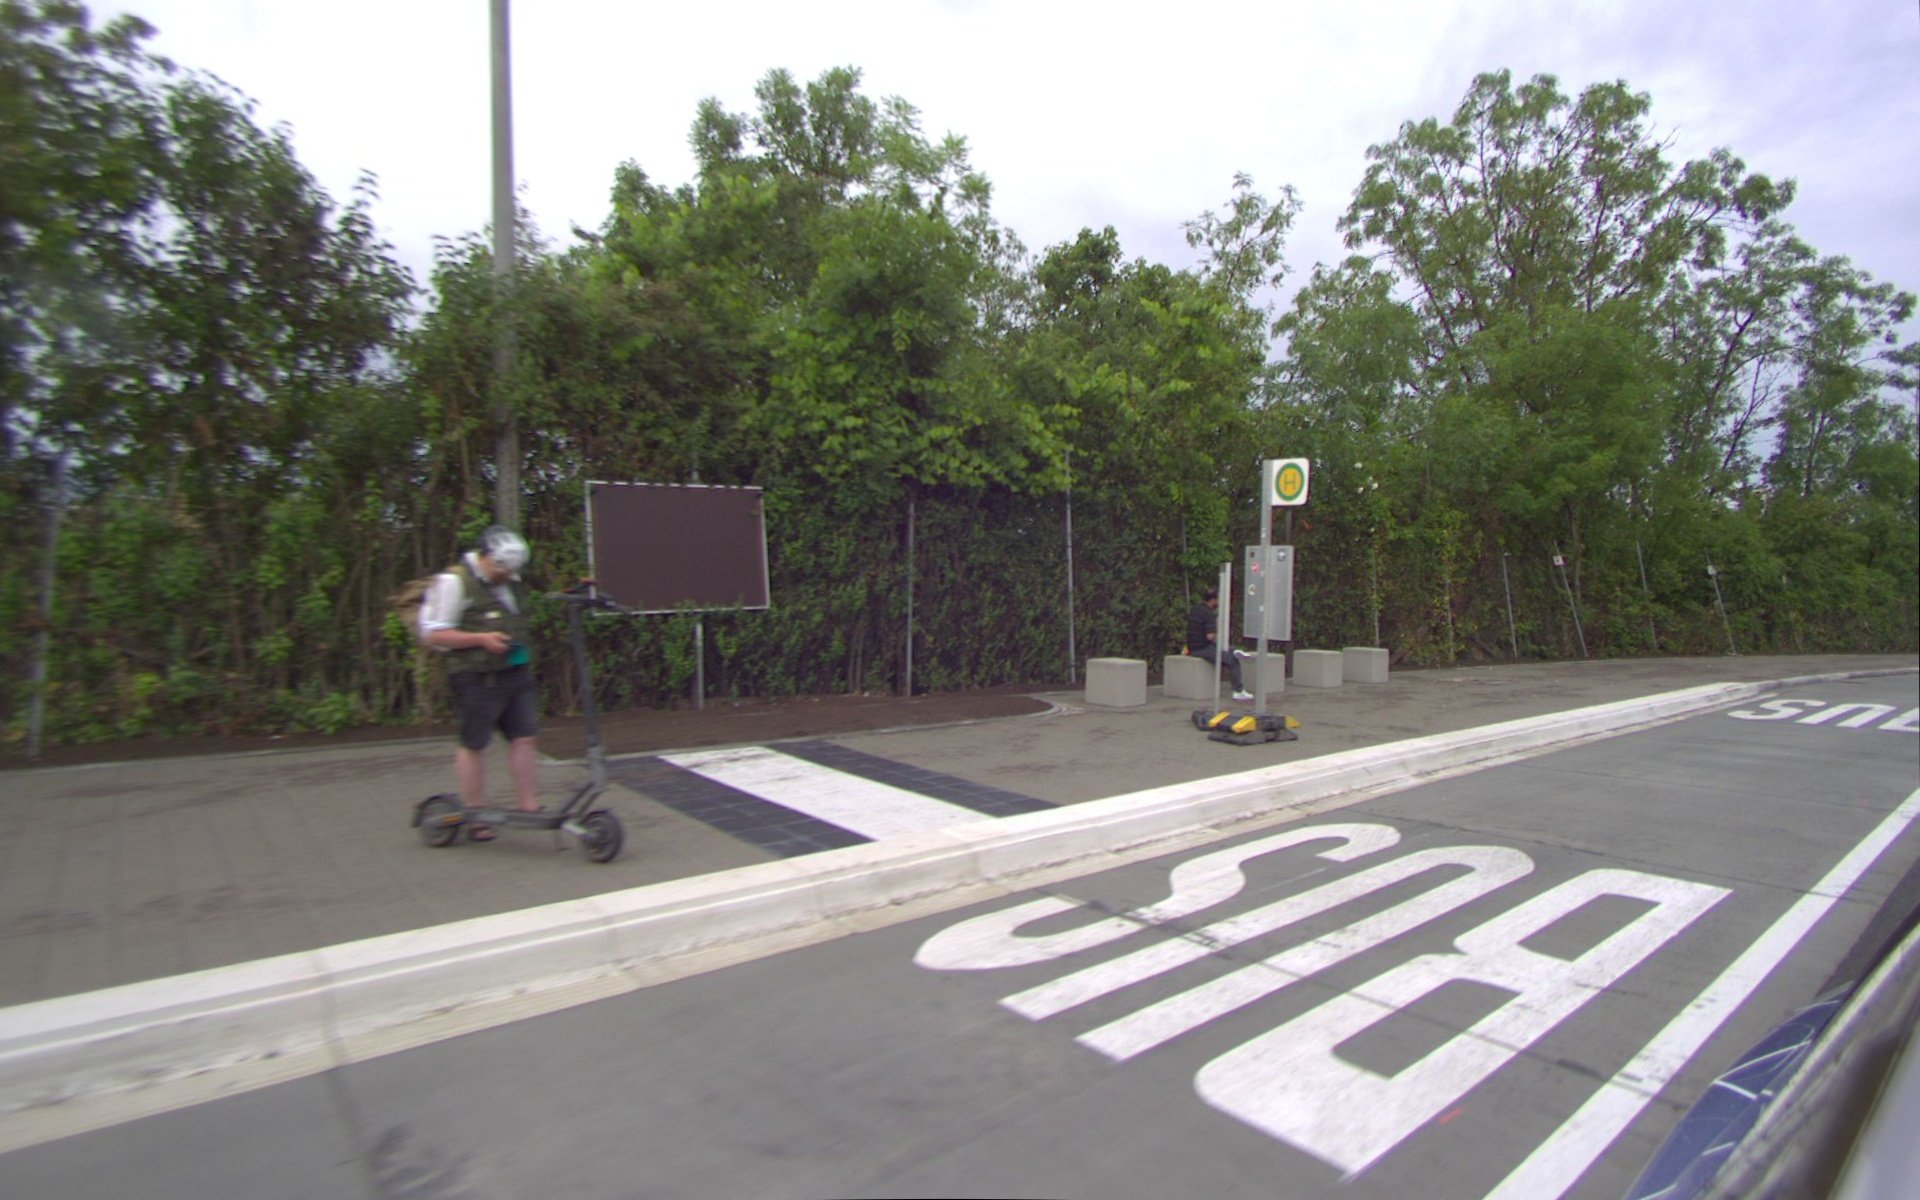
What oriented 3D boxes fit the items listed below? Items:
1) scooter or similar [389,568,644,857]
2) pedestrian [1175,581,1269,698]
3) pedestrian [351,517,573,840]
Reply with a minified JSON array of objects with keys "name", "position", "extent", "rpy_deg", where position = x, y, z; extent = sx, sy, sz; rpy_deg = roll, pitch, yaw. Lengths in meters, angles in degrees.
[{"name":"scooter or similar","position":[-2.159,0.515,4.921],"extent":[1.223,1.332,0.231],"rpy_deg":[1,1,11]},{"name":"pedestrian","position":[3.167,0.450,12.284],"extent":[1.052,1.346,0.807],"rpy_deg":[1,1,14]},{"name":"pedestrian","position":[-2.575,0.369,5.264],"extent":[0.907,1.566,0.543],"rpy_deg":[1,1,14]}]
